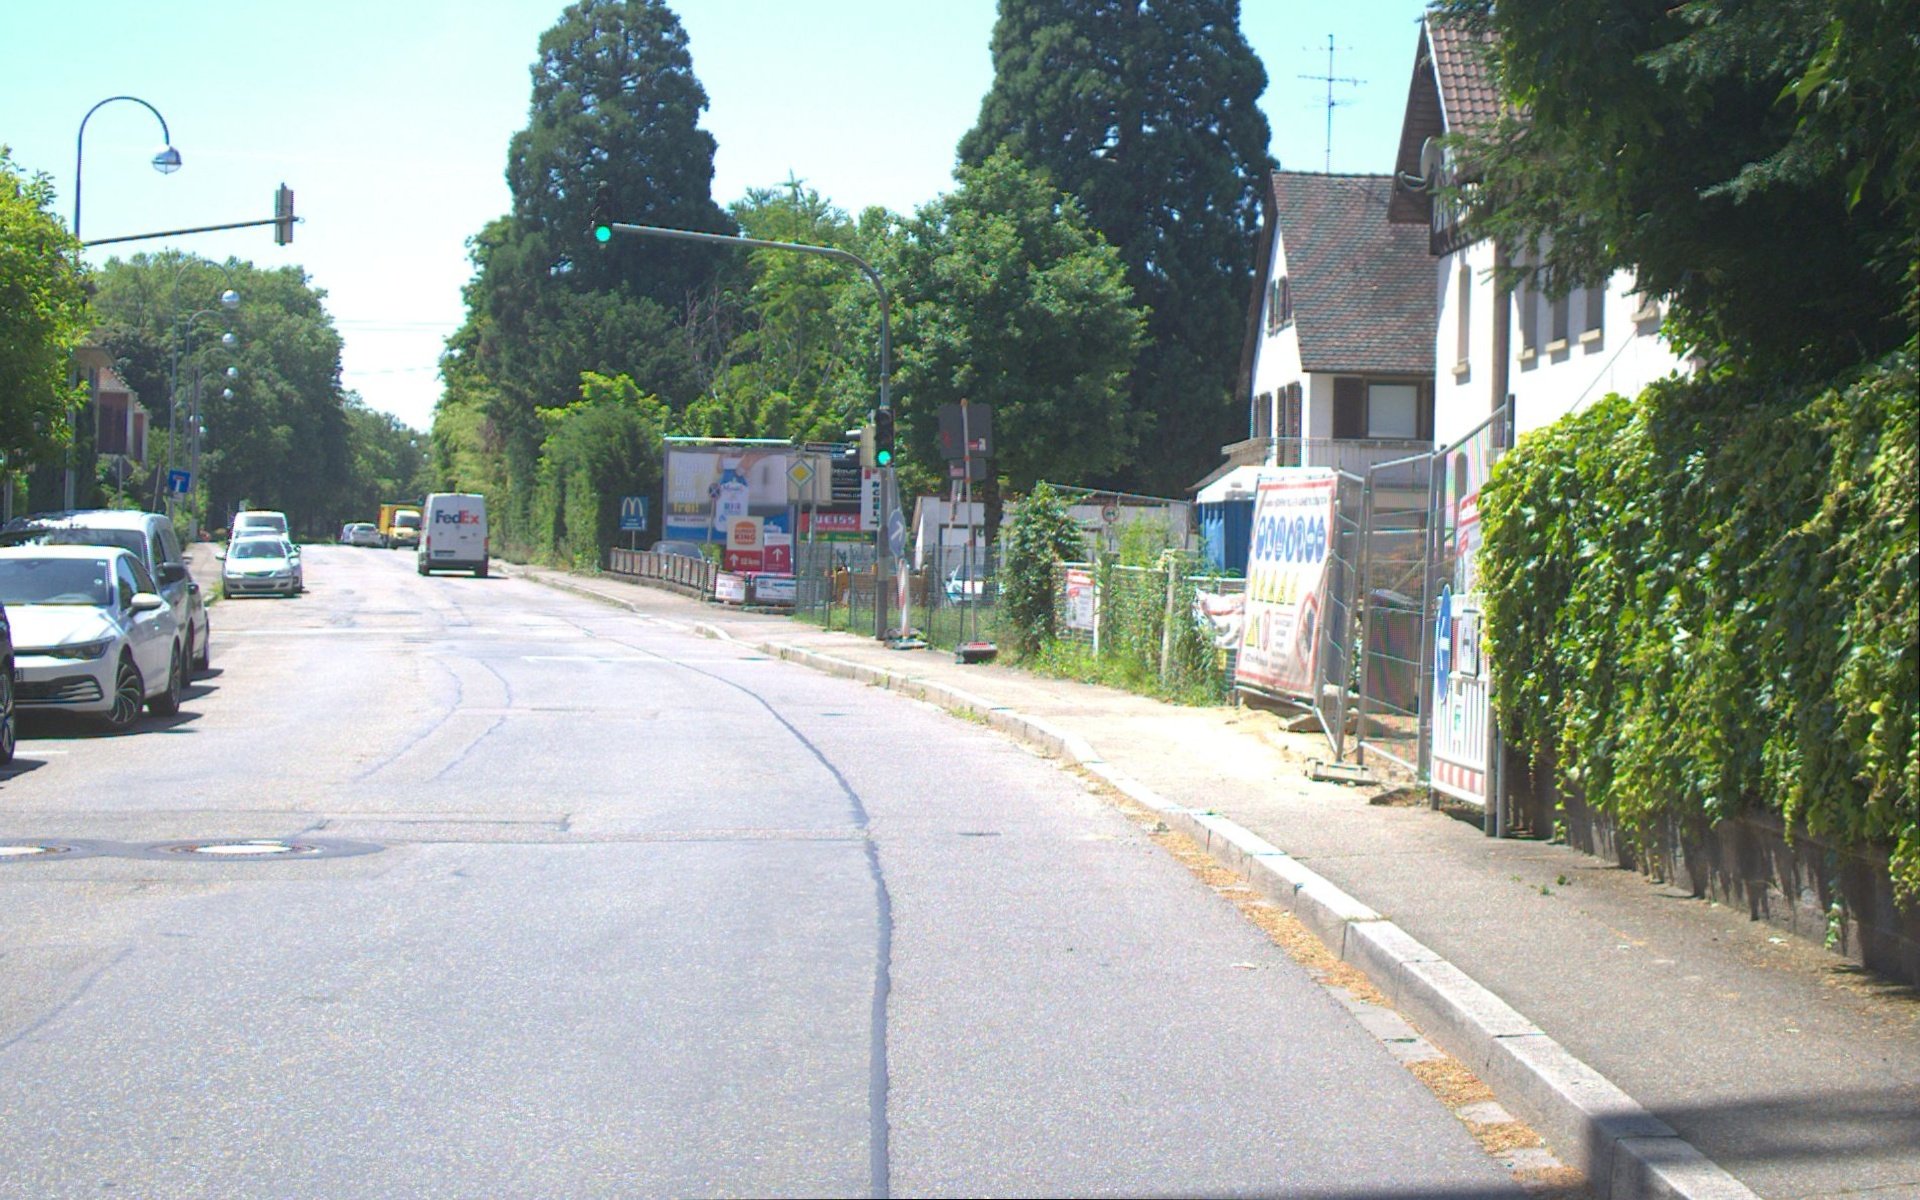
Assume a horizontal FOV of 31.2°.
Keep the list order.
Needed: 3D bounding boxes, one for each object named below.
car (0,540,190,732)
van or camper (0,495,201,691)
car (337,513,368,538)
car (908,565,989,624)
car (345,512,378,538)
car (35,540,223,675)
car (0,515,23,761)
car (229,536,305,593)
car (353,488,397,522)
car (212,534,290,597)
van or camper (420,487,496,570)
[{"bbox_3d":[-7.361,0.236,27.792,1.681,1.436,4.248,0,1,-5],"label":"car"},{"bbox_3d":[-8.488,-0.095,33.656,1.680,1.798,3.986,0,1,-7],"label":"van or camper"},{"bbox_3d":[-43.012,-5.266,243.430,1.993,1.656,4.001,2,1,-12],"label":"car"},{"bbox_3d":[-0.246,-0.149,80.144,1.712,1.265,3.384,3,1,2],"label":"car"},{"bbox_3d":[-39.829,-4.976,228.838,1.993,1.656,4.001,2,1,-12],"label":"car"},{"bbox_3d":[-9.107,0.051,37.905,1.680,1.407,3.927,0,1,-9],"label":"car"},{"bbox_3d":[-7.059,0.271,21.287,1.681,1.631,4.331,0,1,-5],"label":"car"},{"bbox_3d":[-17.436,-0.902,86.349,1.794,1.397,4.220,0,1,-12],"label":"car"},{"bbox_3d":[-29.760,-4.810,174.899,1.993,1.656,4.001,2,1,-12],"label":"car"},{"bbox_3d":[-16.800,-0.826,81.330,1.758,1.442,3.925,0,1,-12],"label":"car"},{"bbox_3d":[-15.652,-2.212,107.027,2.262,2.519,4.761,0,1,-9],"label":"van or camper"}]
